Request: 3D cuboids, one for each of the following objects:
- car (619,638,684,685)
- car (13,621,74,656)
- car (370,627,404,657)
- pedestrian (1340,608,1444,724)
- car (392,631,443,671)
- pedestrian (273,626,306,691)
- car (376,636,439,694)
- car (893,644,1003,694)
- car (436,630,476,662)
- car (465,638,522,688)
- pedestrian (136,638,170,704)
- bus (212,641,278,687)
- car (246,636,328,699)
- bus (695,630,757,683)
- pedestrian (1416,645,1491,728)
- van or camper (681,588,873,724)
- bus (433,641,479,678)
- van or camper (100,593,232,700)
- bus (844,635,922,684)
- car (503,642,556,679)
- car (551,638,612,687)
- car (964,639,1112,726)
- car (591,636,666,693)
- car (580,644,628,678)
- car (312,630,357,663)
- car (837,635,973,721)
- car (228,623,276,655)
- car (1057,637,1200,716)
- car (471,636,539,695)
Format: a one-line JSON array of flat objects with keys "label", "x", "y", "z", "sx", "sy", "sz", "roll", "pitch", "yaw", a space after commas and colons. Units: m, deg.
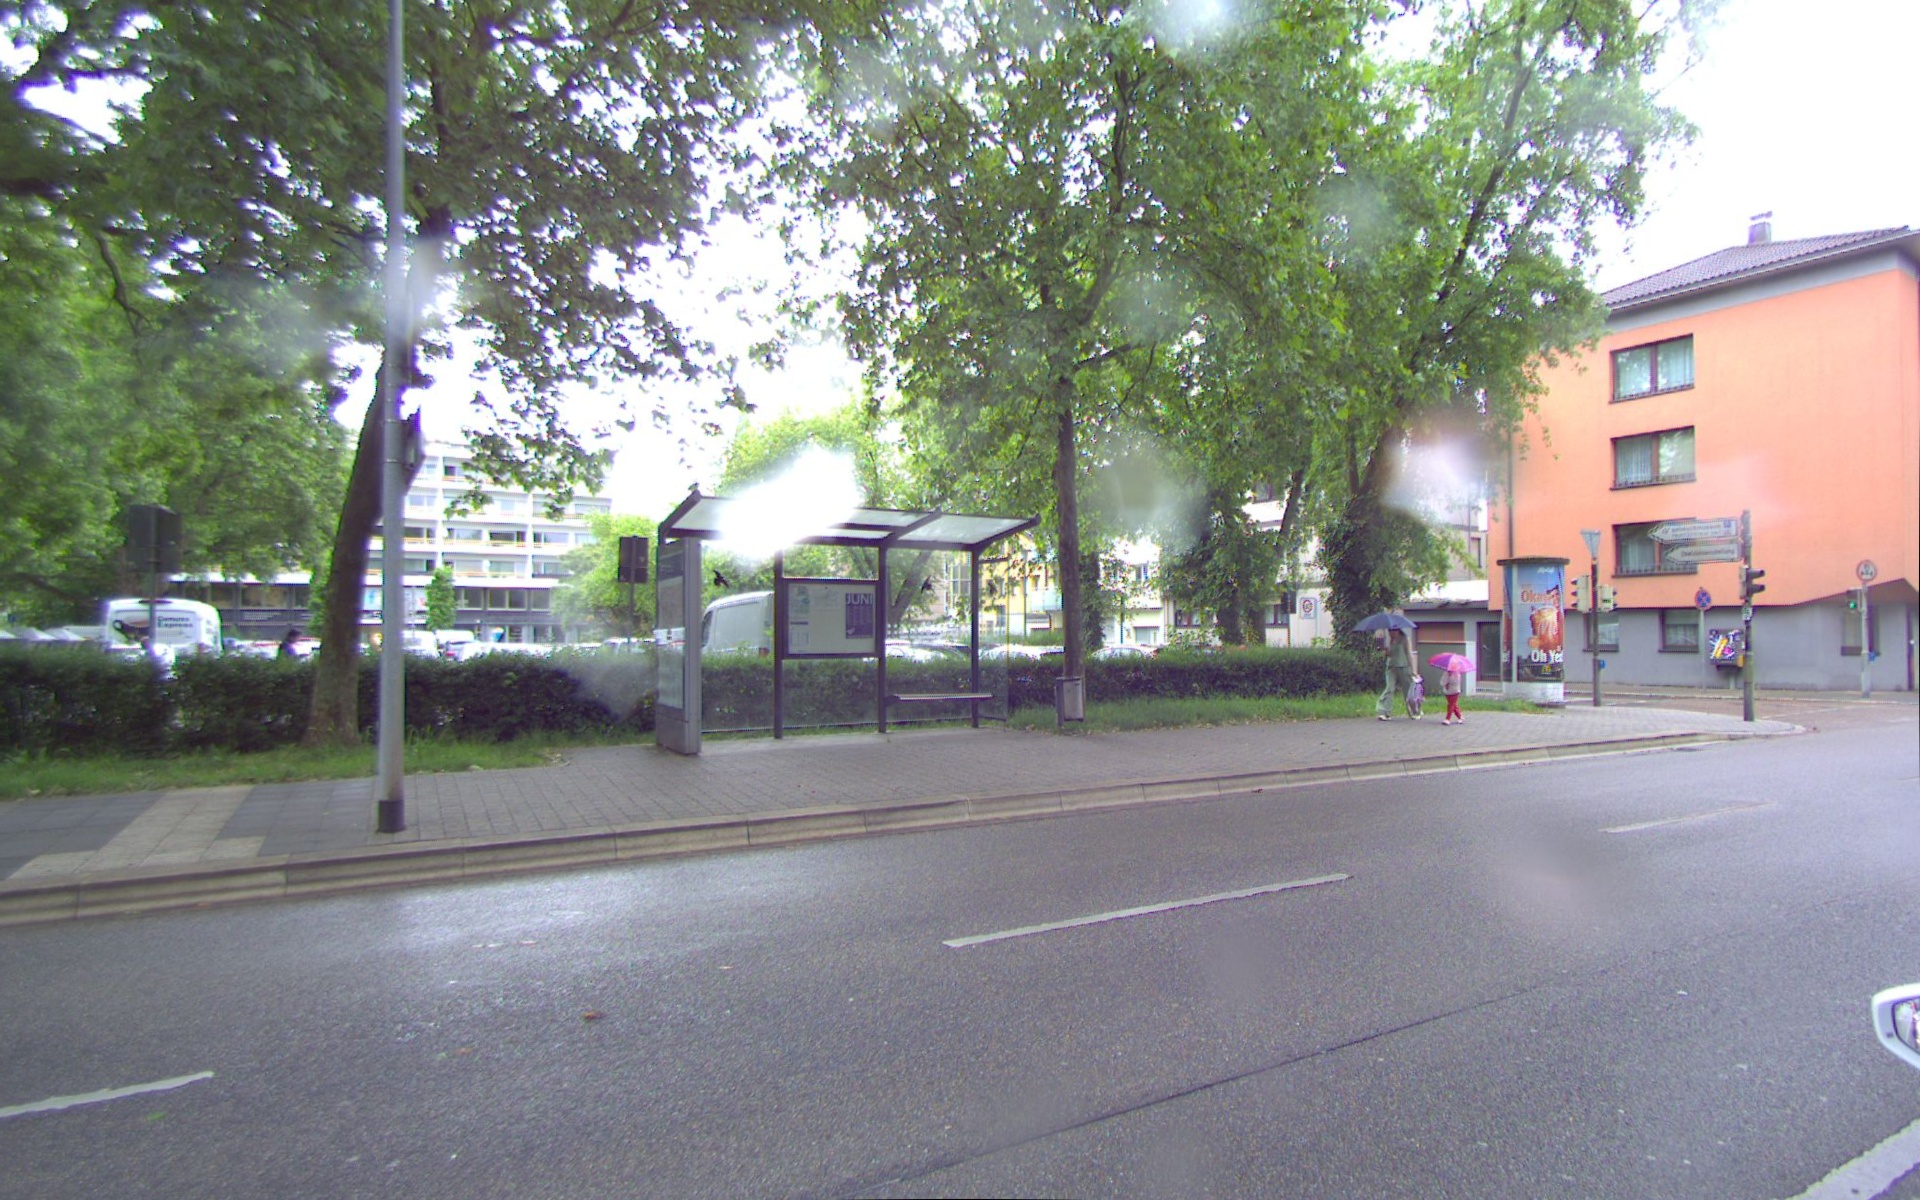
[{"label": "car", "x": -10.003, "y": 1.962, "z": 32.465, "sx": 1.375, "sy": 1.454, "sz": 3.248, "roll": 1, "pitch": -3, "yaw": -29}, {"label": "car", "x": -40.884, "y": 1.696, "z": 44.862, "sx": 1.412, "sy": 1.447, "sz": 2.941, "roll": 1, "pitch": 0, "yaw": -30}, {"label": "car", "x": -33.052, "y": 2.405, "z": 57.906, "sx": 1.622, "sy": 1.544, "sz": 3.174, "roll": 1, "pitch": 1, "yaw": -32}, {"label": "pedestrian", "x": 6.904, "y": 1.026, "z": 16.068, "sx": 1.195, "sy": 1.765, "sz": 0.987, "roll": 1, "pitch": 0, "yaw": -30}, {"label": "car", "x": -20.910, "y": 1.950, "z": 38.678, "sx": 1.587, "sy": 1.447, "sz": 3.293, "roll": 2, "pitch": -3, "yaw": -30}, {"label": "pedestrian", "x": -13.003, "y": 1.133, "z": 19.475, "sx": 0.481, "sy": 1.229, "sz": 0.434, "roll": 2, "pitch": 0, "yaw": -37}, {"label": "car", "x": -14.743, "y": 1.702, "z": 26.842, "sx": 1.375, "sy": 1.454, "sz": 3.248, "roll": 1, "pitch": -3, "yaw": -29}, {"label": "car", "x": -0.464, "y": 2.204, "z": 32.821, "sx": 1.799, "sy": 1.536, "sz": 3.965, "roll": 2, "pitch": -3, "yaw": -33}, {"label": "car", "x": -27.216, "y": 2.463, "z": 54.213, "sx": 1.622, "sy": 1.544, "sz": 3.174, "roll": 2, "pitch": 0, "yaw": -32}, {"label": "car", "x": -14.552, "y": 1.942, "z": 31.271, "sx": 1.375, "sy": 1.454, "sz": 3.248, "roll": 1, "pitch": -3, "yaw": -29}, {"label": "pedestrian", "x": -15.509, "y": 1.362, "z": 19.311, "sx": 0.462, "sy": 1.229, "sz": 0.434, "roll": 2, "pitch": 0, "yaw": -37}, {"label": "bus", "x": -25.559, "y": 2.276, "z": 36.007, "sx": 1.587, "sy": 1.559, "sz": 3.403, "roll": 2, "pitch": -3, "yaw": -30}, {"label": "car", "x": -16.521, "y": 1.629, "z": 24.781, "sx": 1.375, "sy": 1.454, "sz": 3.248, "roll": 1, "pitch": -3, "yaw": -29}, {"label": "bus", "x": -7.840, "y": 1.870, "z": 33.513, "sx": 1.363, "sy": 1.698, "sz": 2.779, "roll": 1, "pitch": -3, "yaw": -28}, {"label": "pedestrian", "x": 7.549, "y": 1.306, "z": 15.376, "sx": 0.817, "sy": 1.190, "sz": 0.681, "roll": 1, "pitch": 0, "yaw": -30}, {"label": "van or camper", "x": -3.519, "y": 1.011, "z": 18.633, "sx": 2.026, "sy": 2.198, "sz": 4.458, "roll": 2, "pitch": -3, "yaw": -32}, {"label": "bus", "x": -22.381, "y": 2.615, "z": 44.561, "sx": 1.587, "sy": 1.559, "sz": 3.403, "roll": 2, "pitch": -3, "yaw": -30}, {"label": "van or camper", "x": -20.695, "y": 1.219, "z": 26.391, "sx": 2.074, "sy": 2.570, "sz": 4.392, "roll": 1, "pitch": -3, "yaw": -30}, {"label": "bus", "x": -2.438, "y": 1.848, "z": 31.481, "sx": 1.364, "sy": 1.451, "sz": 2.777, "roll": 2, "pitch": -3, "yaw": -30}, {"label": "car", "x": -17.705, "y": 2.459, "z": 41.228, "sx": 1.587, "sy": 1.447, "sz": 3.293, "roll": 2, "pitch": -3, "yaw": -30}, {"label": "car", "x": -11.968, "y": 1.955, "z": 31.671, "sx": 1.375, "sy": 1.454, "sz": 3.248, "roll": 1, "pitch": -3, "yaw": -29}, {"label": "car", "x": 1.574, "y": 1.664, "z": 21.160, "sx": 1.492, "sy": 1.544, "sz": 3.174, "roll": 2, "pitch": 0, "yaw": -32}, {"label": "car", "x": -9.122, "y": 1.731, "z": 27.495, "sx": 1.375, "sy": 1.454, "sz": 3.248, "roll": 1, "pitch": -3, "yaw": -29}, {"label": "car", "x": -15.207, "y": 2.584, "z": 42.819, "sx": 1.332, "sy": 1.401, "sz": 3.141, "roll": 2, "pitch": -3, "yaw": -30}, {"label": "car", "x": -31.430, "y": 2.317, "z": 50.574, "sx": 1.818, "sy": 1.444, "sz": 3.799, "roll": 2, "pitch": 0, "yaw": -31}, {"label": "car", "x": -1.221, "y": 1.579, "z": 21.177, "sx": 1.492, "sy": 1.544, "sz": 3.174, "roll": 2, "pitch": 0, "yaw": -32}, {"label": "car", "x": -33.724, "y": 1.862, "z": 47.898, "sx": 1.587, "sy": 1.447, "sz": 3.293, "roll": 2, "pitch": -3, "yaw": -30}, {"label": "car", "x": 3.795, "y": 1.689, "z": 23.031, "sx": 1.492, "sy": 1.544, "sz": 3.174, "roll": 2, "pitch": 0, "yaw": -32}, {"label": "car", "x": -12.100, "y": 1.715, "z": 26.639, "sx": 1.375, "sy": 1.454, "sz": 3.248, "roll": 1, "pitch": -3, "yaw": -29}]
